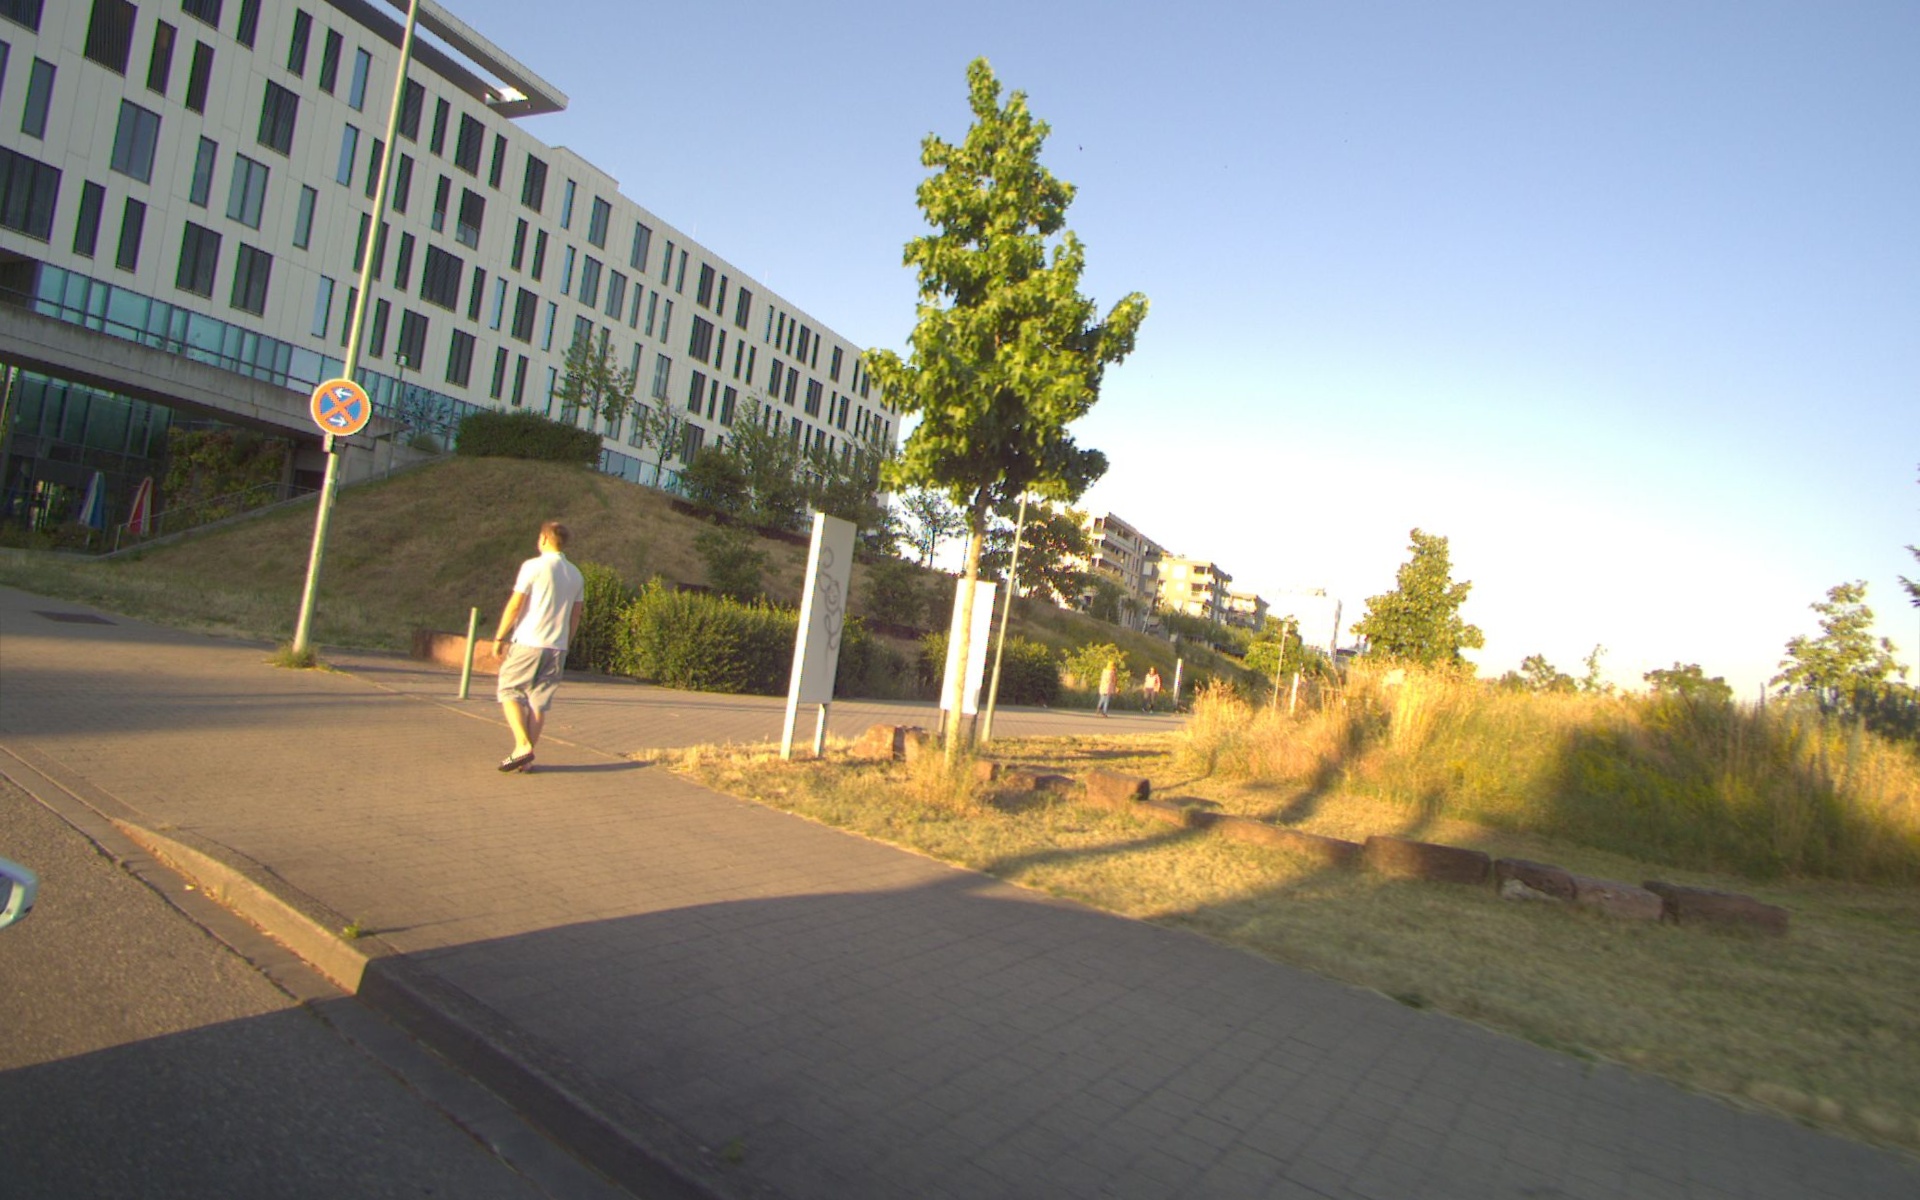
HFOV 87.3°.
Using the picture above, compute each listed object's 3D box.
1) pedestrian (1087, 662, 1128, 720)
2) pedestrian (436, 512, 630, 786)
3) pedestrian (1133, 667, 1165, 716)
[{"bbox_3d":[4.073,2.510,27.799,0.752,1.476,0.710,8,-2,24],"label":"pedestrian"},{"bbox_3d":[-3.043,0.335,7.198,0.805,1.788,0.832,6,0,35],"label":"pedestrian"},{"bbox_3d":[6.670,3.231,35.449,0.752,1.576,0.710,8,-1,24],"label":"pedestrian"}]
